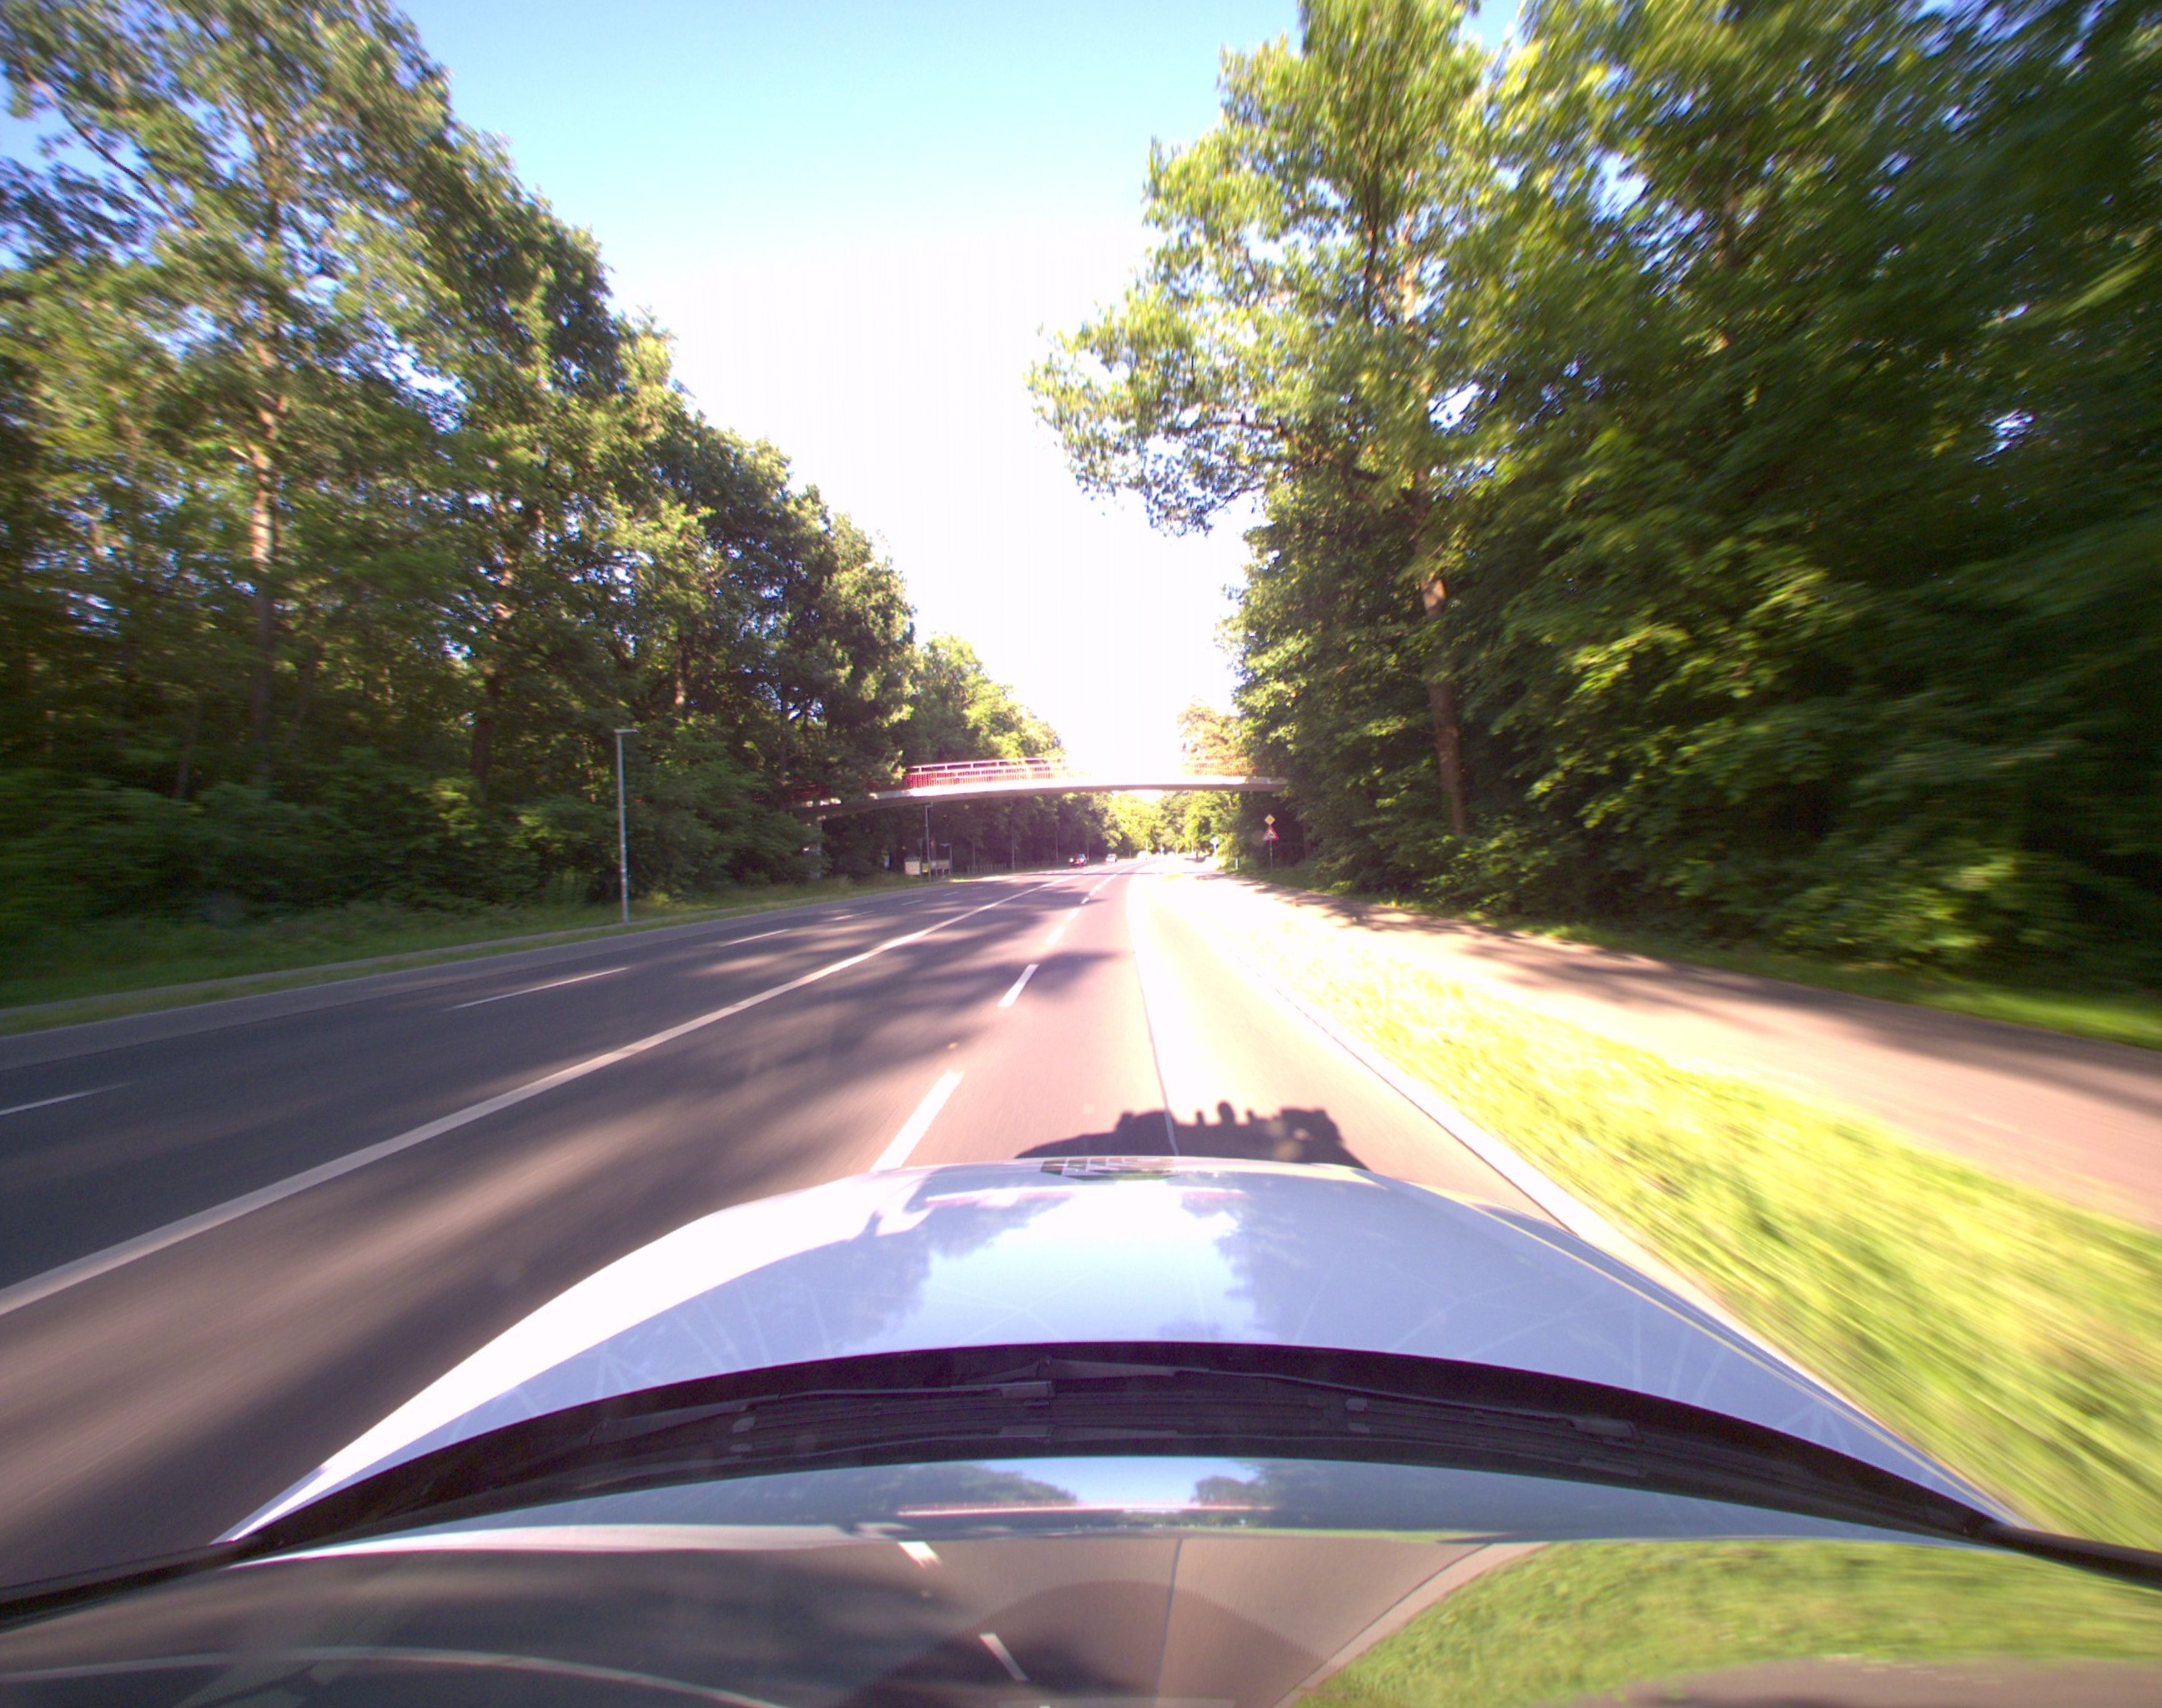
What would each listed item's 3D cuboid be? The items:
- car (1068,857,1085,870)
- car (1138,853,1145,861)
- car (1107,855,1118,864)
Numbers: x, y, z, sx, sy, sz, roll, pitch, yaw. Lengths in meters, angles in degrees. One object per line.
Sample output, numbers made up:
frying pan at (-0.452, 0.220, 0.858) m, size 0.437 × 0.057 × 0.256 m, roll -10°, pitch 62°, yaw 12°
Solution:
car at (-0.545, 1.212, 106.196) m, size 1.753 × 1.582 × 4.174 m, roll -1°, pitch 0°, yaw 5°
car at (14.693, 0.701, 197.824) m, size 1.697 × 1.709 × 4.005 m, roll -2°, pitch 0°, yaw 5°
car at (5.623, 0.935, 145.795) m, size 1.714 × 1.574 × 4.184 m, roll 0°, pitch 0°, yaw 6°
